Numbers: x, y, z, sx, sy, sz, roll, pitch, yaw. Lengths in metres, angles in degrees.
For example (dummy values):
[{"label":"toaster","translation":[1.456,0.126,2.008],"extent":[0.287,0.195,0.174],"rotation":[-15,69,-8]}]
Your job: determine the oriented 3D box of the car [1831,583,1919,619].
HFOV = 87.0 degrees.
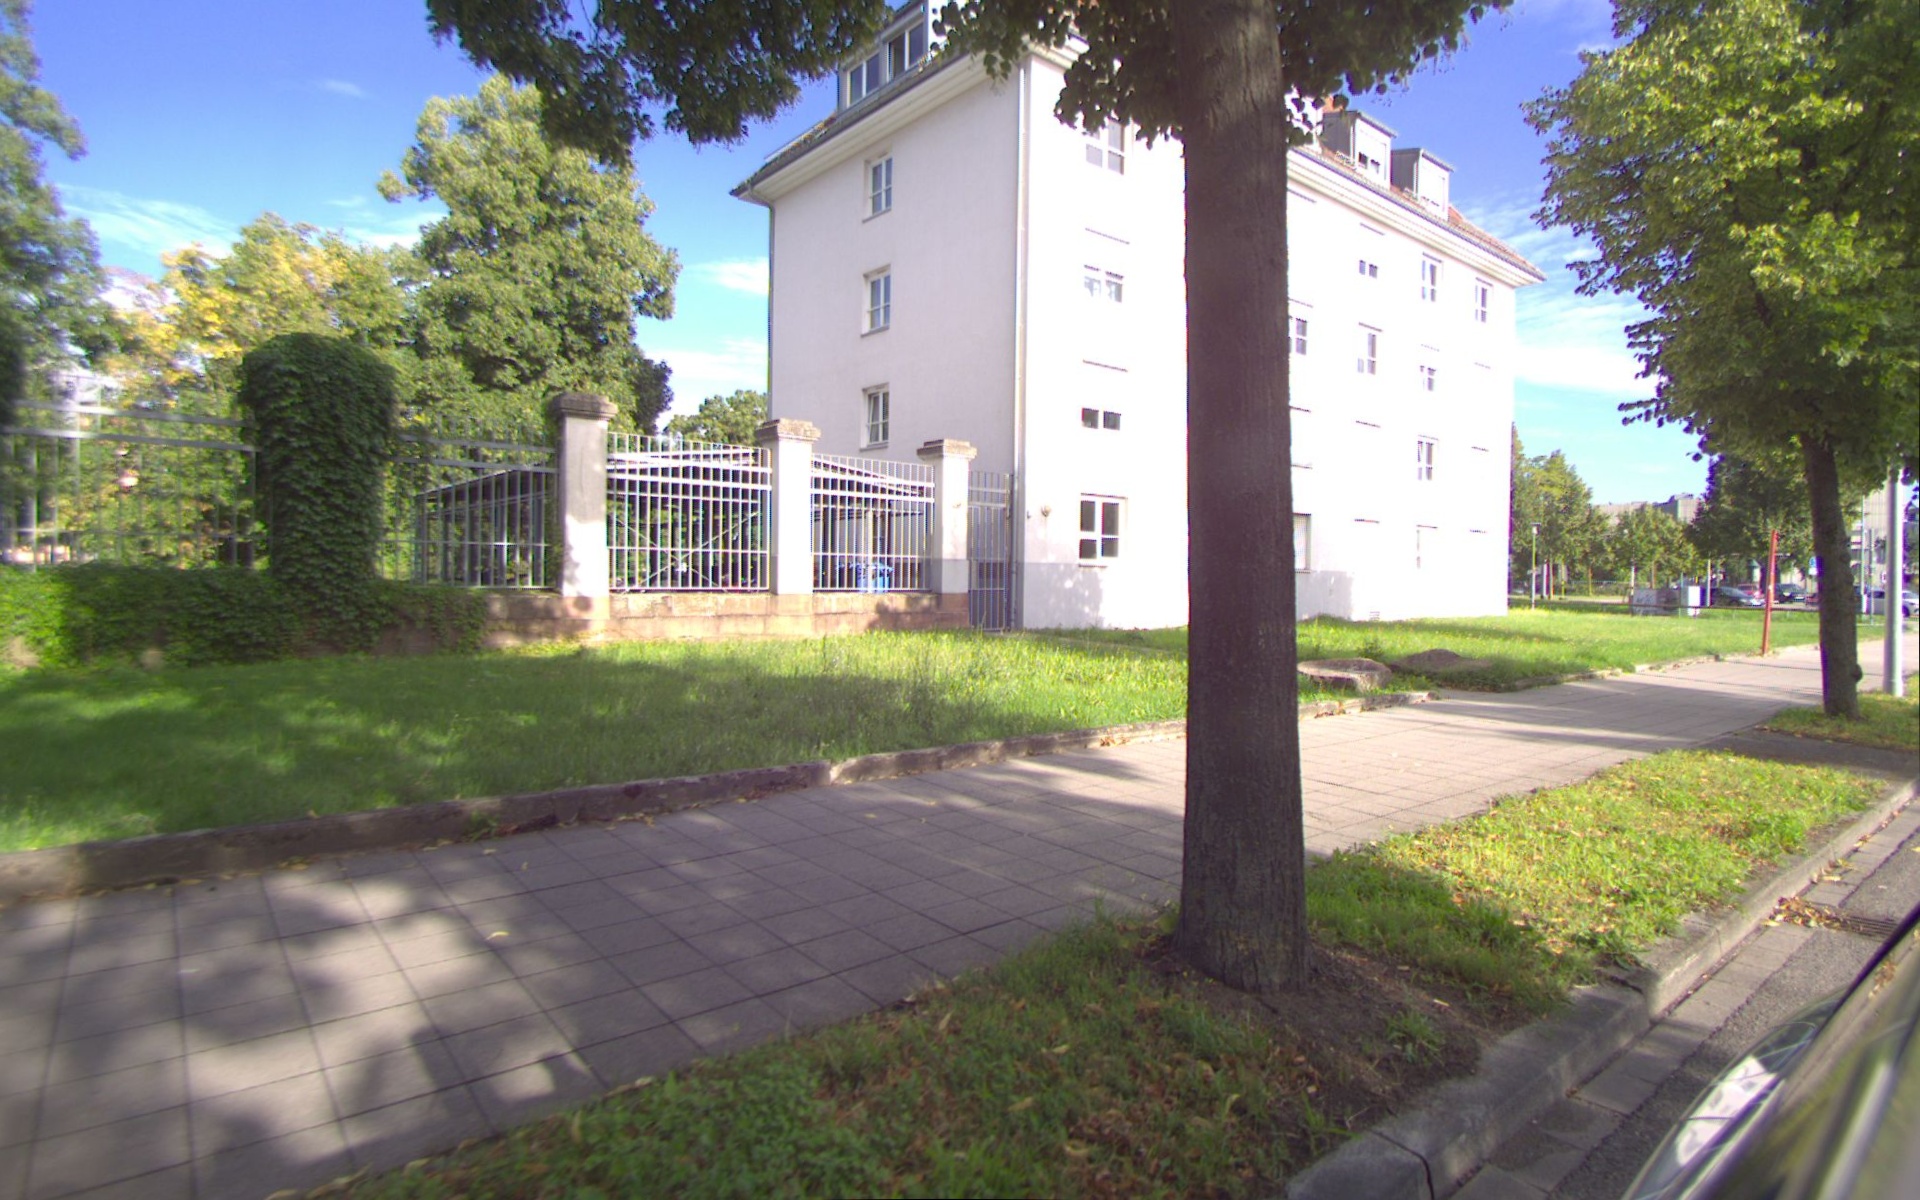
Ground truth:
[{"label":"car","translation":[51.022,0.009,55.226],"extent":[1.802,1.890,5.413],"rotation":[-1,1,-8]}]
